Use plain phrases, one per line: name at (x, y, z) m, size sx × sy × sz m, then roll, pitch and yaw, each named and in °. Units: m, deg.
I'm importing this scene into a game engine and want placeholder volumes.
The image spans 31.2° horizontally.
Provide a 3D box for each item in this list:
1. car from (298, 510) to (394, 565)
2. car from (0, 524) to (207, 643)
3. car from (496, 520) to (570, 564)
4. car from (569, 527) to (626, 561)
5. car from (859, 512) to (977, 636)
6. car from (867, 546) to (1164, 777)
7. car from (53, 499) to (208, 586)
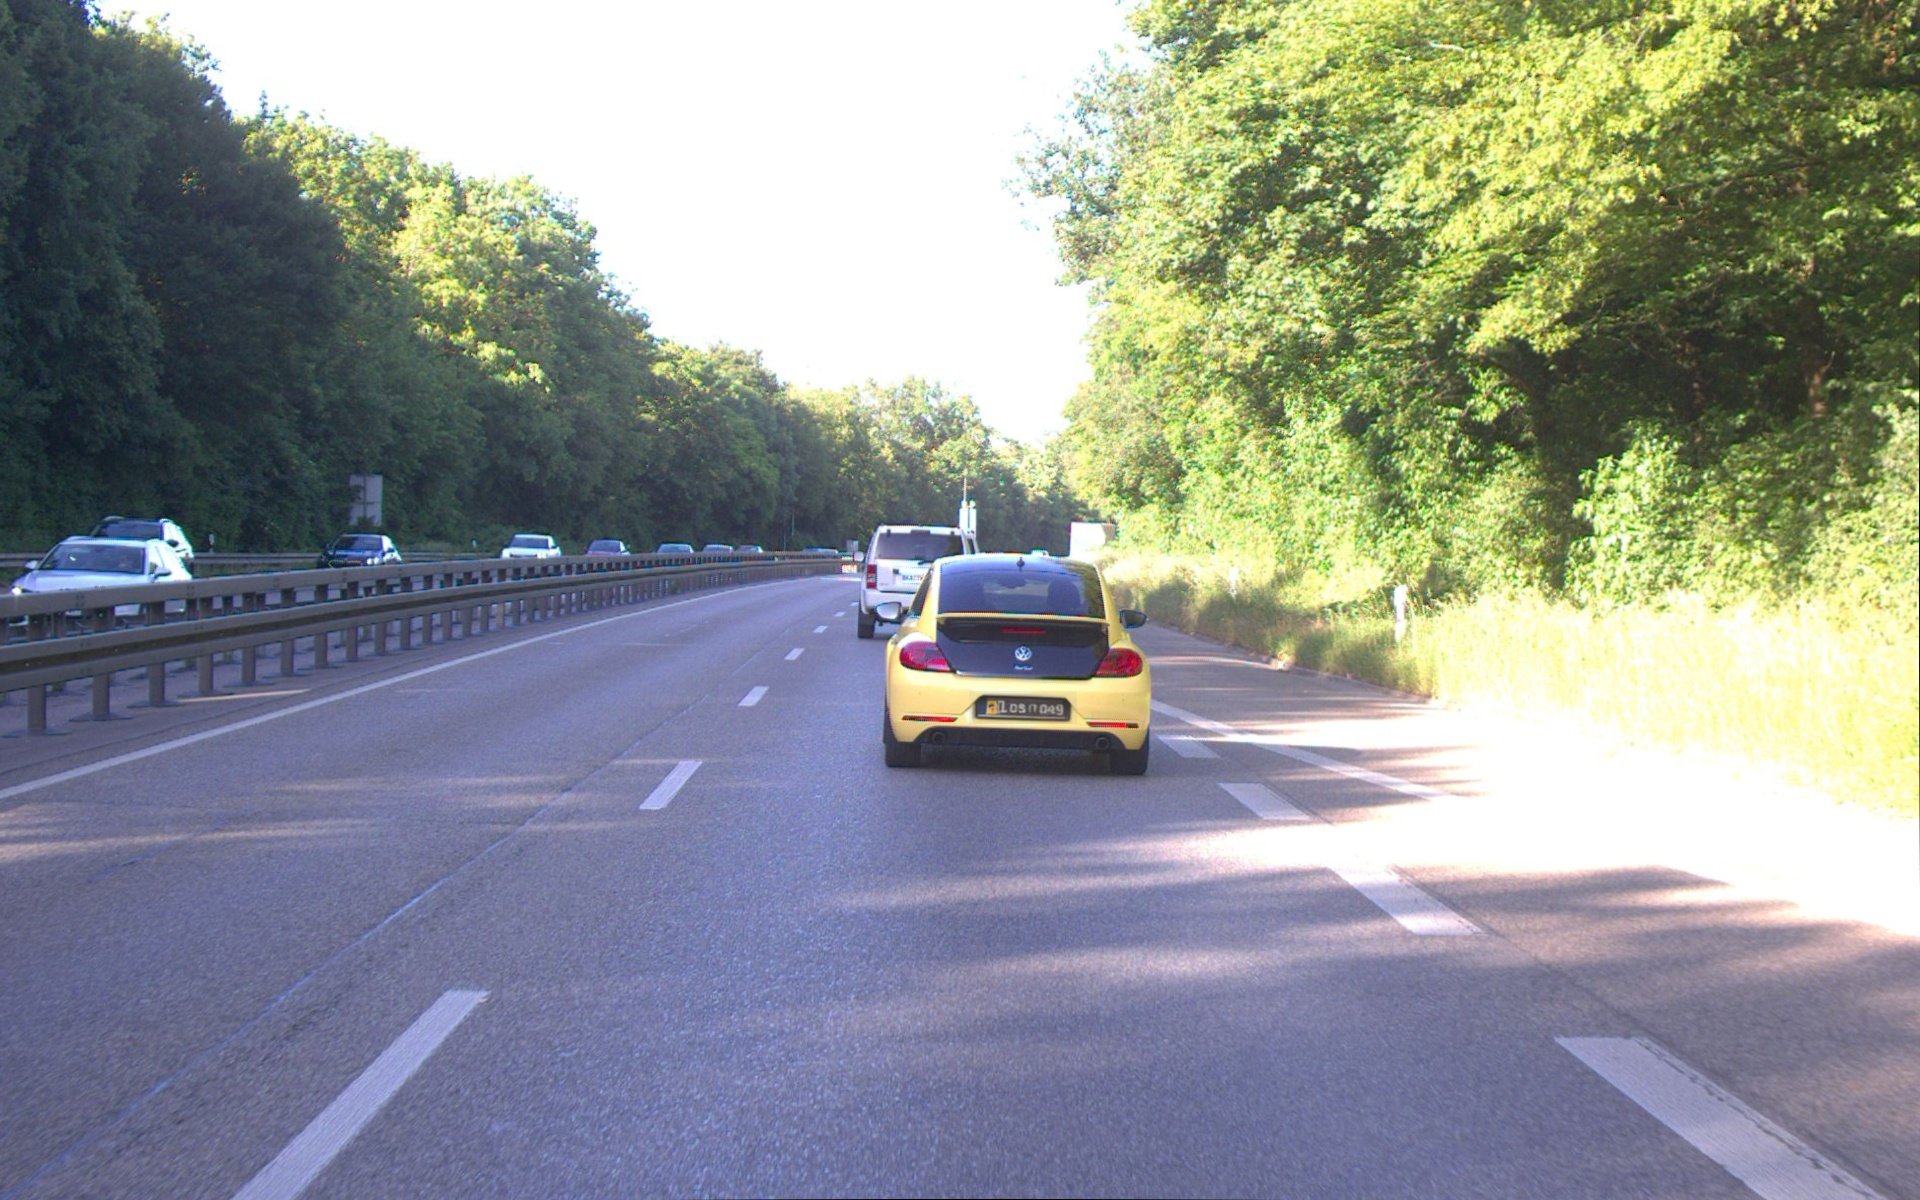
car at (-17.010, -1.734, 95.439) m, size 1.993 × 1.481 × 4.000 m, roll 0°, pitch 1°, yaw -1°
car at (-11.841, -0.243, 47.262) m, size 1.993 × 1.554 × 4.708 m, roll 0°, pitch 1°, yaw -1°
car at (-15.903, -2.157, 128.186) m, size 1.994 × 1.617 × 4.789 m, roll 0°, pitch 1°, yaw 2°
car at (-15.750, -2.431, 149.425) m, size 1.993 × 1.459 × 4.000 m, roll 0°, pitch 1°, yaw 1°
car at (-0.680, -0.419, 53.512) m, size 1.741 × 1.823 × 3.423 m, roll 1°, pitch 1°, yaw -2°
car at (0.447, 0.377, 24.120) m, size 1.939 × 1.503 × 3.422 m, roll 0°, pitch 1°, yaw 3°
car at (-16.677, -1.145, 69.361) m, size 1.993 × 1.693 × 4.908 m, roll 0°, pitch 1°, yaw -1°
